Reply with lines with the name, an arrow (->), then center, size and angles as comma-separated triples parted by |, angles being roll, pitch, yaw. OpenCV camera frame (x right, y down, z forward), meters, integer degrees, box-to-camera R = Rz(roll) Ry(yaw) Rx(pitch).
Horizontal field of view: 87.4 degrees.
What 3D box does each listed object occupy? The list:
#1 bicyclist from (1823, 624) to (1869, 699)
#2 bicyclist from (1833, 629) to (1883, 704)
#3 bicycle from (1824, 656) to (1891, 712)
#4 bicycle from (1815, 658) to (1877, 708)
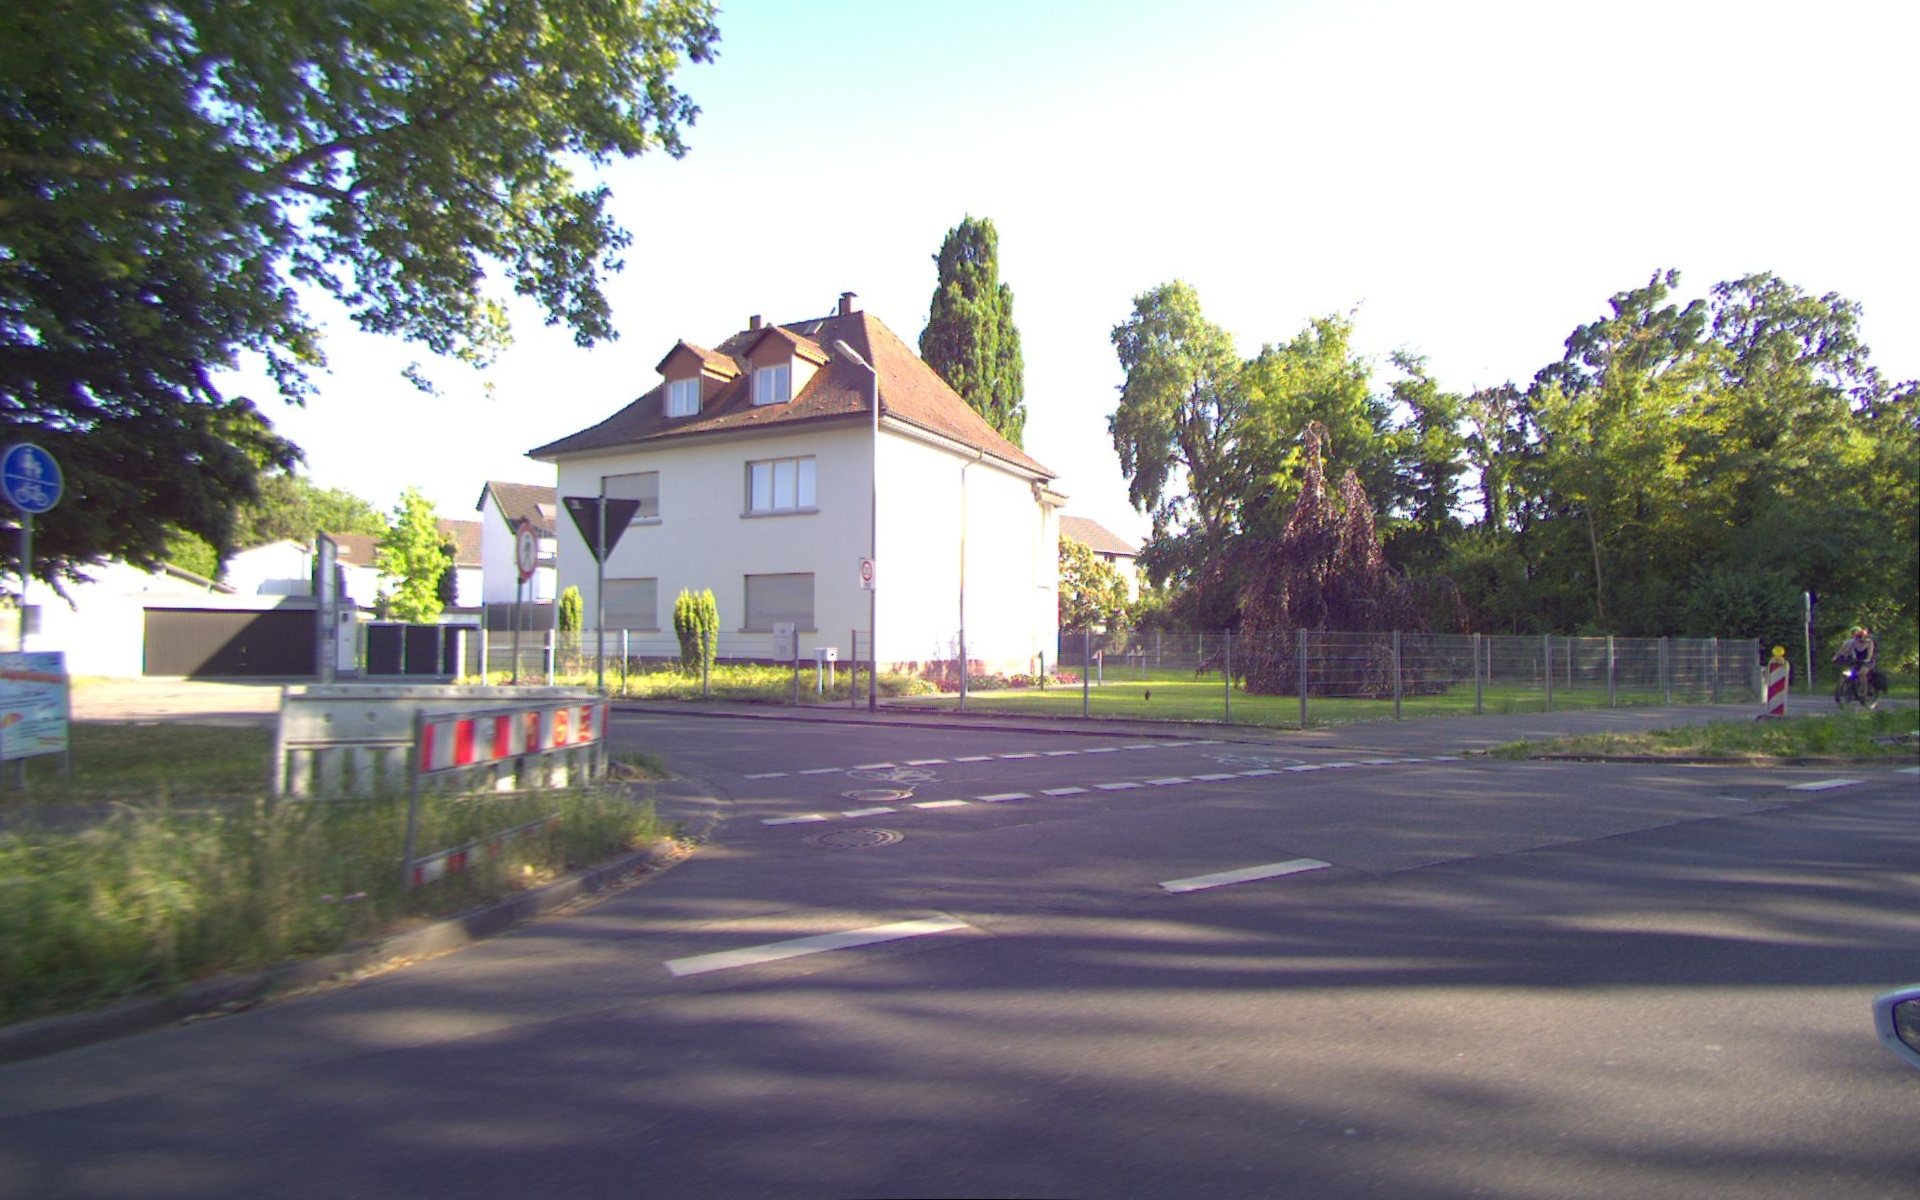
bicyclist -> 22.419, 1.561, 25.411 | 0.957, 1.855, 0.576 | 2, -3, -31
bicyclist -> 20.940, 1.546, 23.419 | 0.959, 1.701, 0.576 | 2, -3, -31
bicycle -> 20.911, 1.939, 23.392 | 2.083, 1.262, 0.576 | 2, -3, -31
bicycle -> 22.418, 2.087, 25.404 | 2.009, 1.201, 0.576 | 2, -3, -31
